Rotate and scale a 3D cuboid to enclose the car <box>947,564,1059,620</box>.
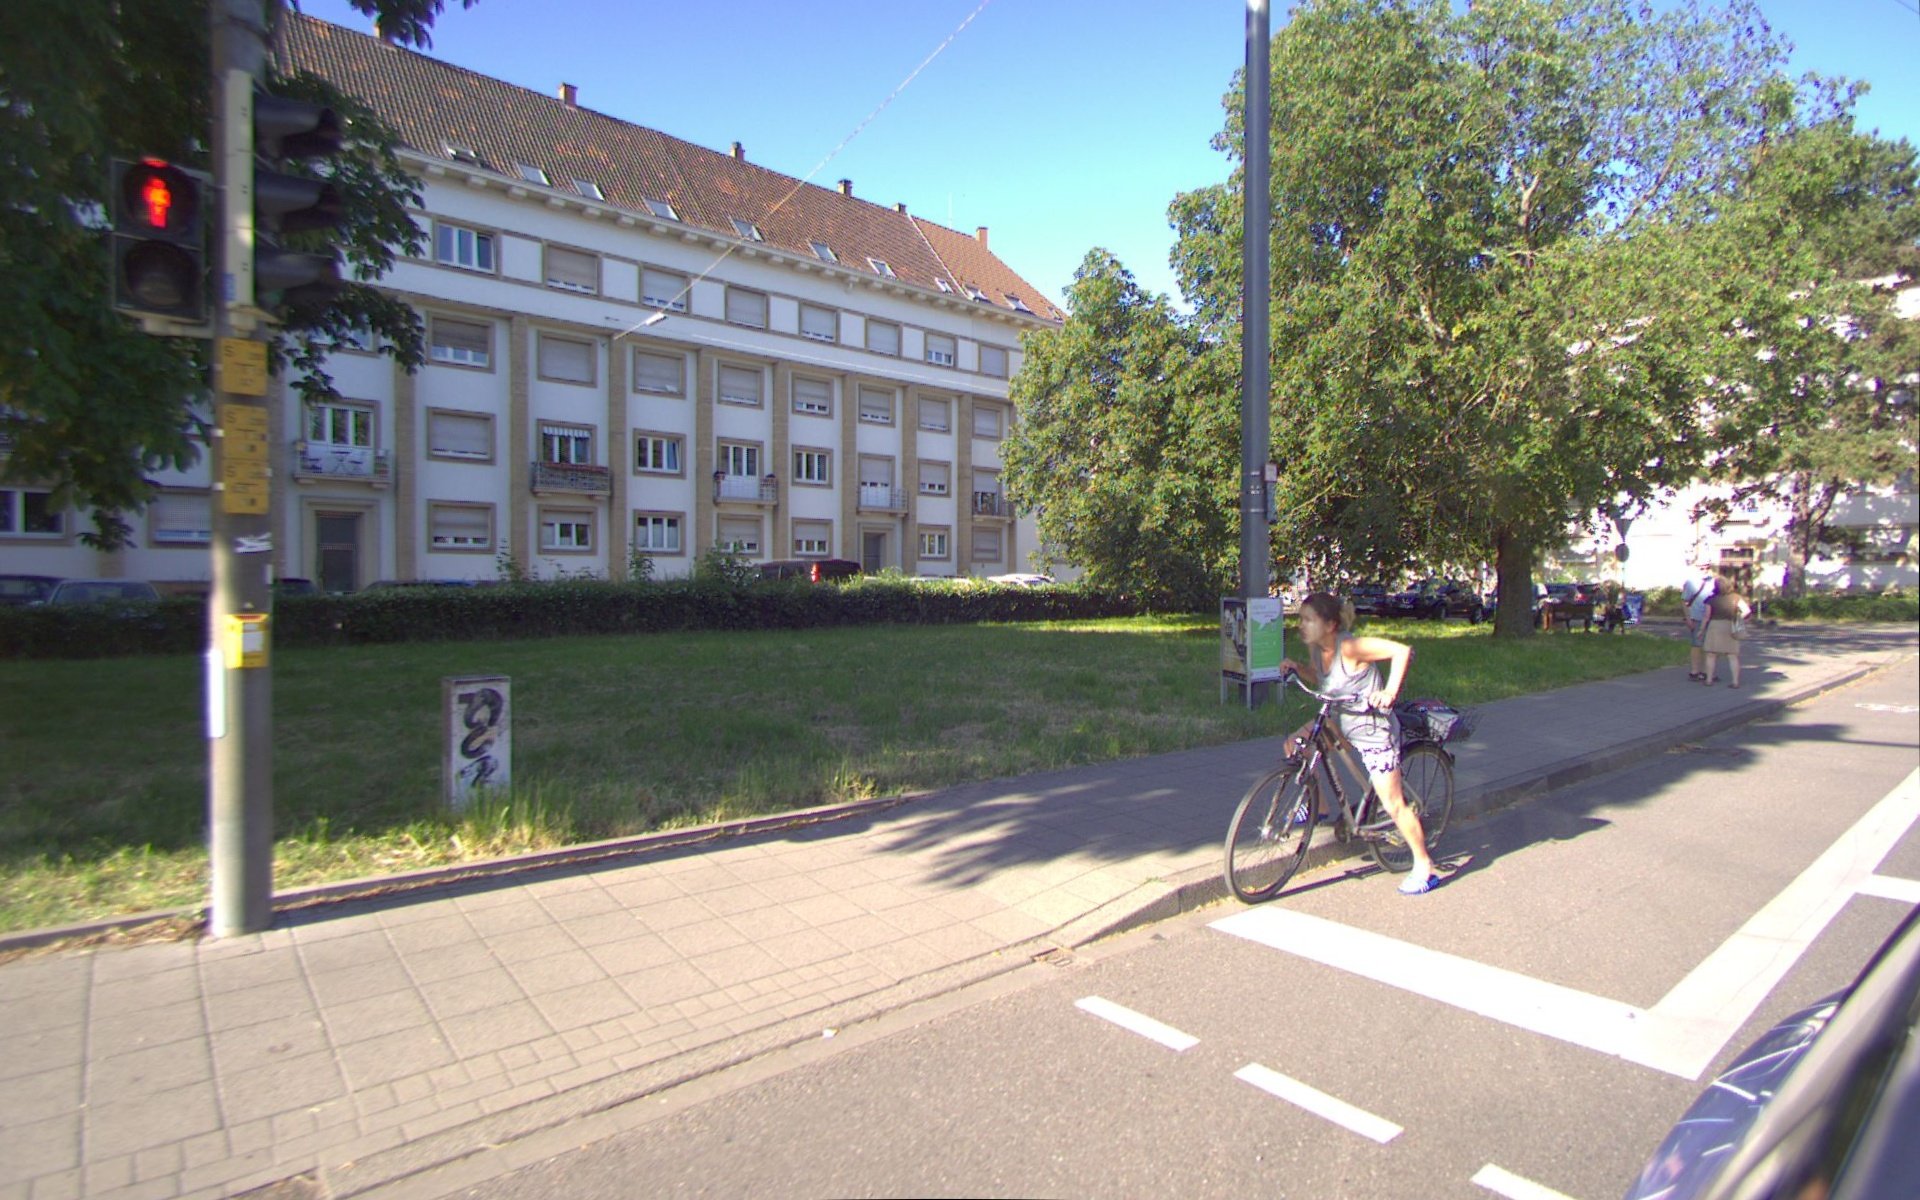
[{"bbox_3d":[1.453,-0.244,35.714,1.736,1.817,3.995,-1,-1,-38],"label":"car"}]

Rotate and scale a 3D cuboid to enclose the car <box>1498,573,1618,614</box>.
[{"bbox_3d":[25.262,-0.322,42.929,1.733,1.519,4.316,-3,3,-16],"label":"car"}]

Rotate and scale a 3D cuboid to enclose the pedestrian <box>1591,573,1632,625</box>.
[{"bbox_3d":[15.960,-0.029,24.783,0.745,1.242,0.405,-1,-1,-13],"label":"pedestrian"}]

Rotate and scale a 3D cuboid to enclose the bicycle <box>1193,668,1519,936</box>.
[{"bbox_3d":[1.991,0.886,4.978,1.770,0.985,0.649,-1,-1,-37],"label":"bicycle"}]

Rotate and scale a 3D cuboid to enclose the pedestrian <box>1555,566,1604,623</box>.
[{"bbox_3d":[15.595,-0.134,25.477,0.739,1.391,0.688,-1,-1,-13],"label":"pedestrian"}]

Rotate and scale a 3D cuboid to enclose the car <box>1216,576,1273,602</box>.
[{"bbox_3d":[19.198,-0.729,68.451,1.762,1.631,4.007,-1,-1,-17],"label":"car"}]

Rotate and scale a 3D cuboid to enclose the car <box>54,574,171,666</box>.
[{"bbox_3d":[-15.760,0.292,18.798,1.548,1.548,3.253,-1,2,-41],"label":"car"}]

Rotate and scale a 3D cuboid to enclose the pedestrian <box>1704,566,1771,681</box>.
[{"bbox_3d":[10.815,0.309,14.082,0.615,1.547,0.531,-1,3,-35],"label":"pedestrian"}]

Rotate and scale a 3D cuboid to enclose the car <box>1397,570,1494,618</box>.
[{"bbox_3d":[16.932,-0.228,35.265,3.738,1.591,1.456,-1,2,-37],"label":"car"}]

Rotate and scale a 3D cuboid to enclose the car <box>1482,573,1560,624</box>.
[{"bbox_3d":[18.133,-0.098,32.640,1.632,1.512,3.756,2,2,38],"label":"car"}]

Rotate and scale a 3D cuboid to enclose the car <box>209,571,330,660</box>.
[{"bbox_3d":[-13.354,0.228,19.518,1.548,1.548,3.253,-1,2,-41],"label":"car"}]

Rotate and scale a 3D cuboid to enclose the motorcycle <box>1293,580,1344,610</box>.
[{"bbox_3d":[14.385,-0.222,40.647,1.772,1.085,0.705,4,2,34],"label":"motorcycle"}]

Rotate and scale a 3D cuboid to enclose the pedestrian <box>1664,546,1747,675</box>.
[{"bbox_3d":[10.933,0.141,14.845,0.681,1.811,0.706,1,3,-35],"label":"pedestrian"}]

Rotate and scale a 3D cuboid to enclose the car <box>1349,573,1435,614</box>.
[{"bbox_3d":[16.603,-0.284,38.791,1.636,1.458,4.174,2,2,44],"label":"car"}]

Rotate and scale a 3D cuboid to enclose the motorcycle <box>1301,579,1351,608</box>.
[{"bbox_3d":[14.905,-0.281,41.244,1.772,1.085,0.705,4,2,34],"label":"motorcycle"}]

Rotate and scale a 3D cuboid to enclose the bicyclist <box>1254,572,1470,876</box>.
[{"bbox_3d":[1.970,0.548,4.968,0.788,1.340,0.639,-1,-1,-38],"label":"bicyclist"}]

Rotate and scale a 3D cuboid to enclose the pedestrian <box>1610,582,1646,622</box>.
[{"bbox_3d":[16.071,0.059,24.356,0.610,0.946,0.405,1,-2,-13],"label":"pedestrian"}]

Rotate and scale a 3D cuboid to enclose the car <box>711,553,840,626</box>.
[{"bbox_3d":[-5.040,-0.232,27.322,1.736,1.817,3.995,-1,-1,-38],"label":"car"}]
